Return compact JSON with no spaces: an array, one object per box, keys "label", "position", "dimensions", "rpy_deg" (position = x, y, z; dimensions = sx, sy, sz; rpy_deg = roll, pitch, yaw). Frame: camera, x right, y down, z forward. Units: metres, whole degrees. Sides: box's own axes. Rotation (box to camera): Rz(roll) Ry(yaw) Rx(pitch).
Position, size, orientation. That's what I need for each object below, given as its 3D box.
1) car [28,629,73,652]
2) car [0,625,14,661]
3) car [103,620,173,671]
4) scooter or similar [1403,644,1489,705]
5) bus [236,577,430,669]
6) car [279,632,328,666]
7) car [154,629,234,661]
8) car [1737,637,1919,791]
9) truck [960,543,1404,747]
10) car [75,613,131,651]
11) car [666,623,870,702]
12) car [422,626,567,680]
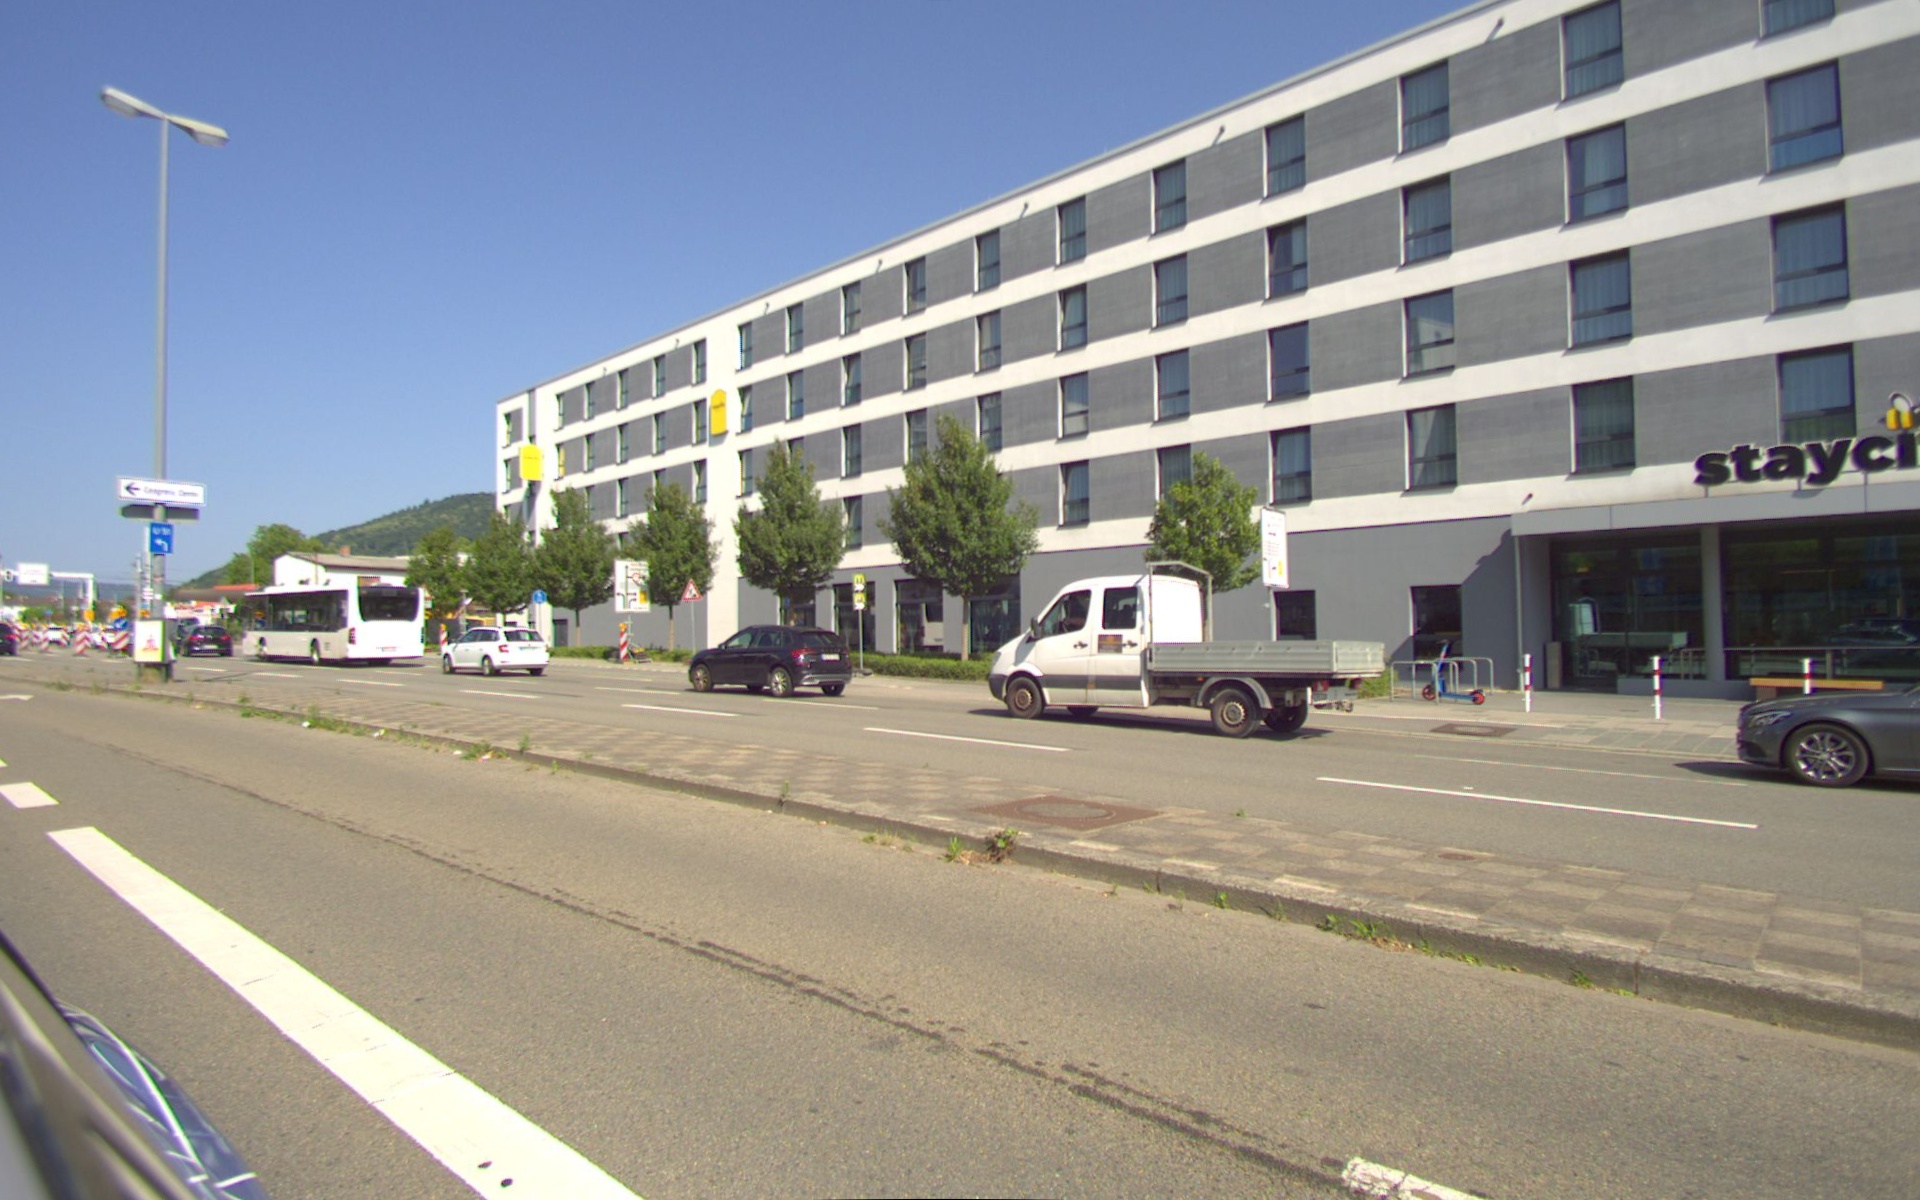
[{"label":"car","position":[-66.723,2.927,74.225],"dimensions":[3.584,1.631,1.699],"rpy_deg":[-1,-1,35]},{"label":"car","position":[-44.820,1.965,46.442],"dimensions":[4.136,1.630,1.864],"rpy_deg":[-2,-2,44]},{"label":"car","position":[-35.546,1.920,43.706],"dimensions":[4.162,2.029,1.658],"rpy_deg":[0,0,41]},{"label":"scooter or similar","position":[9.679,1.469,20.197],"dimensions":[1.518,1.121,0.347],"rpy_deg":[0,-1,44]},{"label":"bus","position":[-24.475,0.947,39.097],"dimensions":[11.966,3.102,2.710],"rpy_deg":[-1,-4,40]},{"label":"car","position":[-25.358,1.875,39.078],"dimensions":[2.219,1.216,1.044],"rpy_deg":[0,0,42]},{"label":"car","position":[-35.969,2.070,47.494],"dimensions":[4.887,1.443,1.973],"rpy_deg":[-1,-2,40]},{"label":"car","position":[10.365,1.104,9.594],"dimensions":[4.586,1.438,1.934],"rpy_deg":[-2,-4,44]},{"label":"truck","position":[3.204,0.661,15.763],"dimensions":[6.433,2.565,2.332],"rpy_deg":[-1,-4,41]},{"label":"car","position":[-53.882,2.053,63.597],"dimensions":[3.996,2.029,1.973],"rpy_deg":[-6,-7,39]},{"label":"car","position":[-4.331,1.345,22.592],"dimensions":[4.404,1.590,1.975],"rpy_deg":[-1,-3,36]},{"label":"car","position":[-14.055,1.584,30.481],"dimensions":[4.403,1.497,1.976],"rpy_deg":[0,-4,36]}]
